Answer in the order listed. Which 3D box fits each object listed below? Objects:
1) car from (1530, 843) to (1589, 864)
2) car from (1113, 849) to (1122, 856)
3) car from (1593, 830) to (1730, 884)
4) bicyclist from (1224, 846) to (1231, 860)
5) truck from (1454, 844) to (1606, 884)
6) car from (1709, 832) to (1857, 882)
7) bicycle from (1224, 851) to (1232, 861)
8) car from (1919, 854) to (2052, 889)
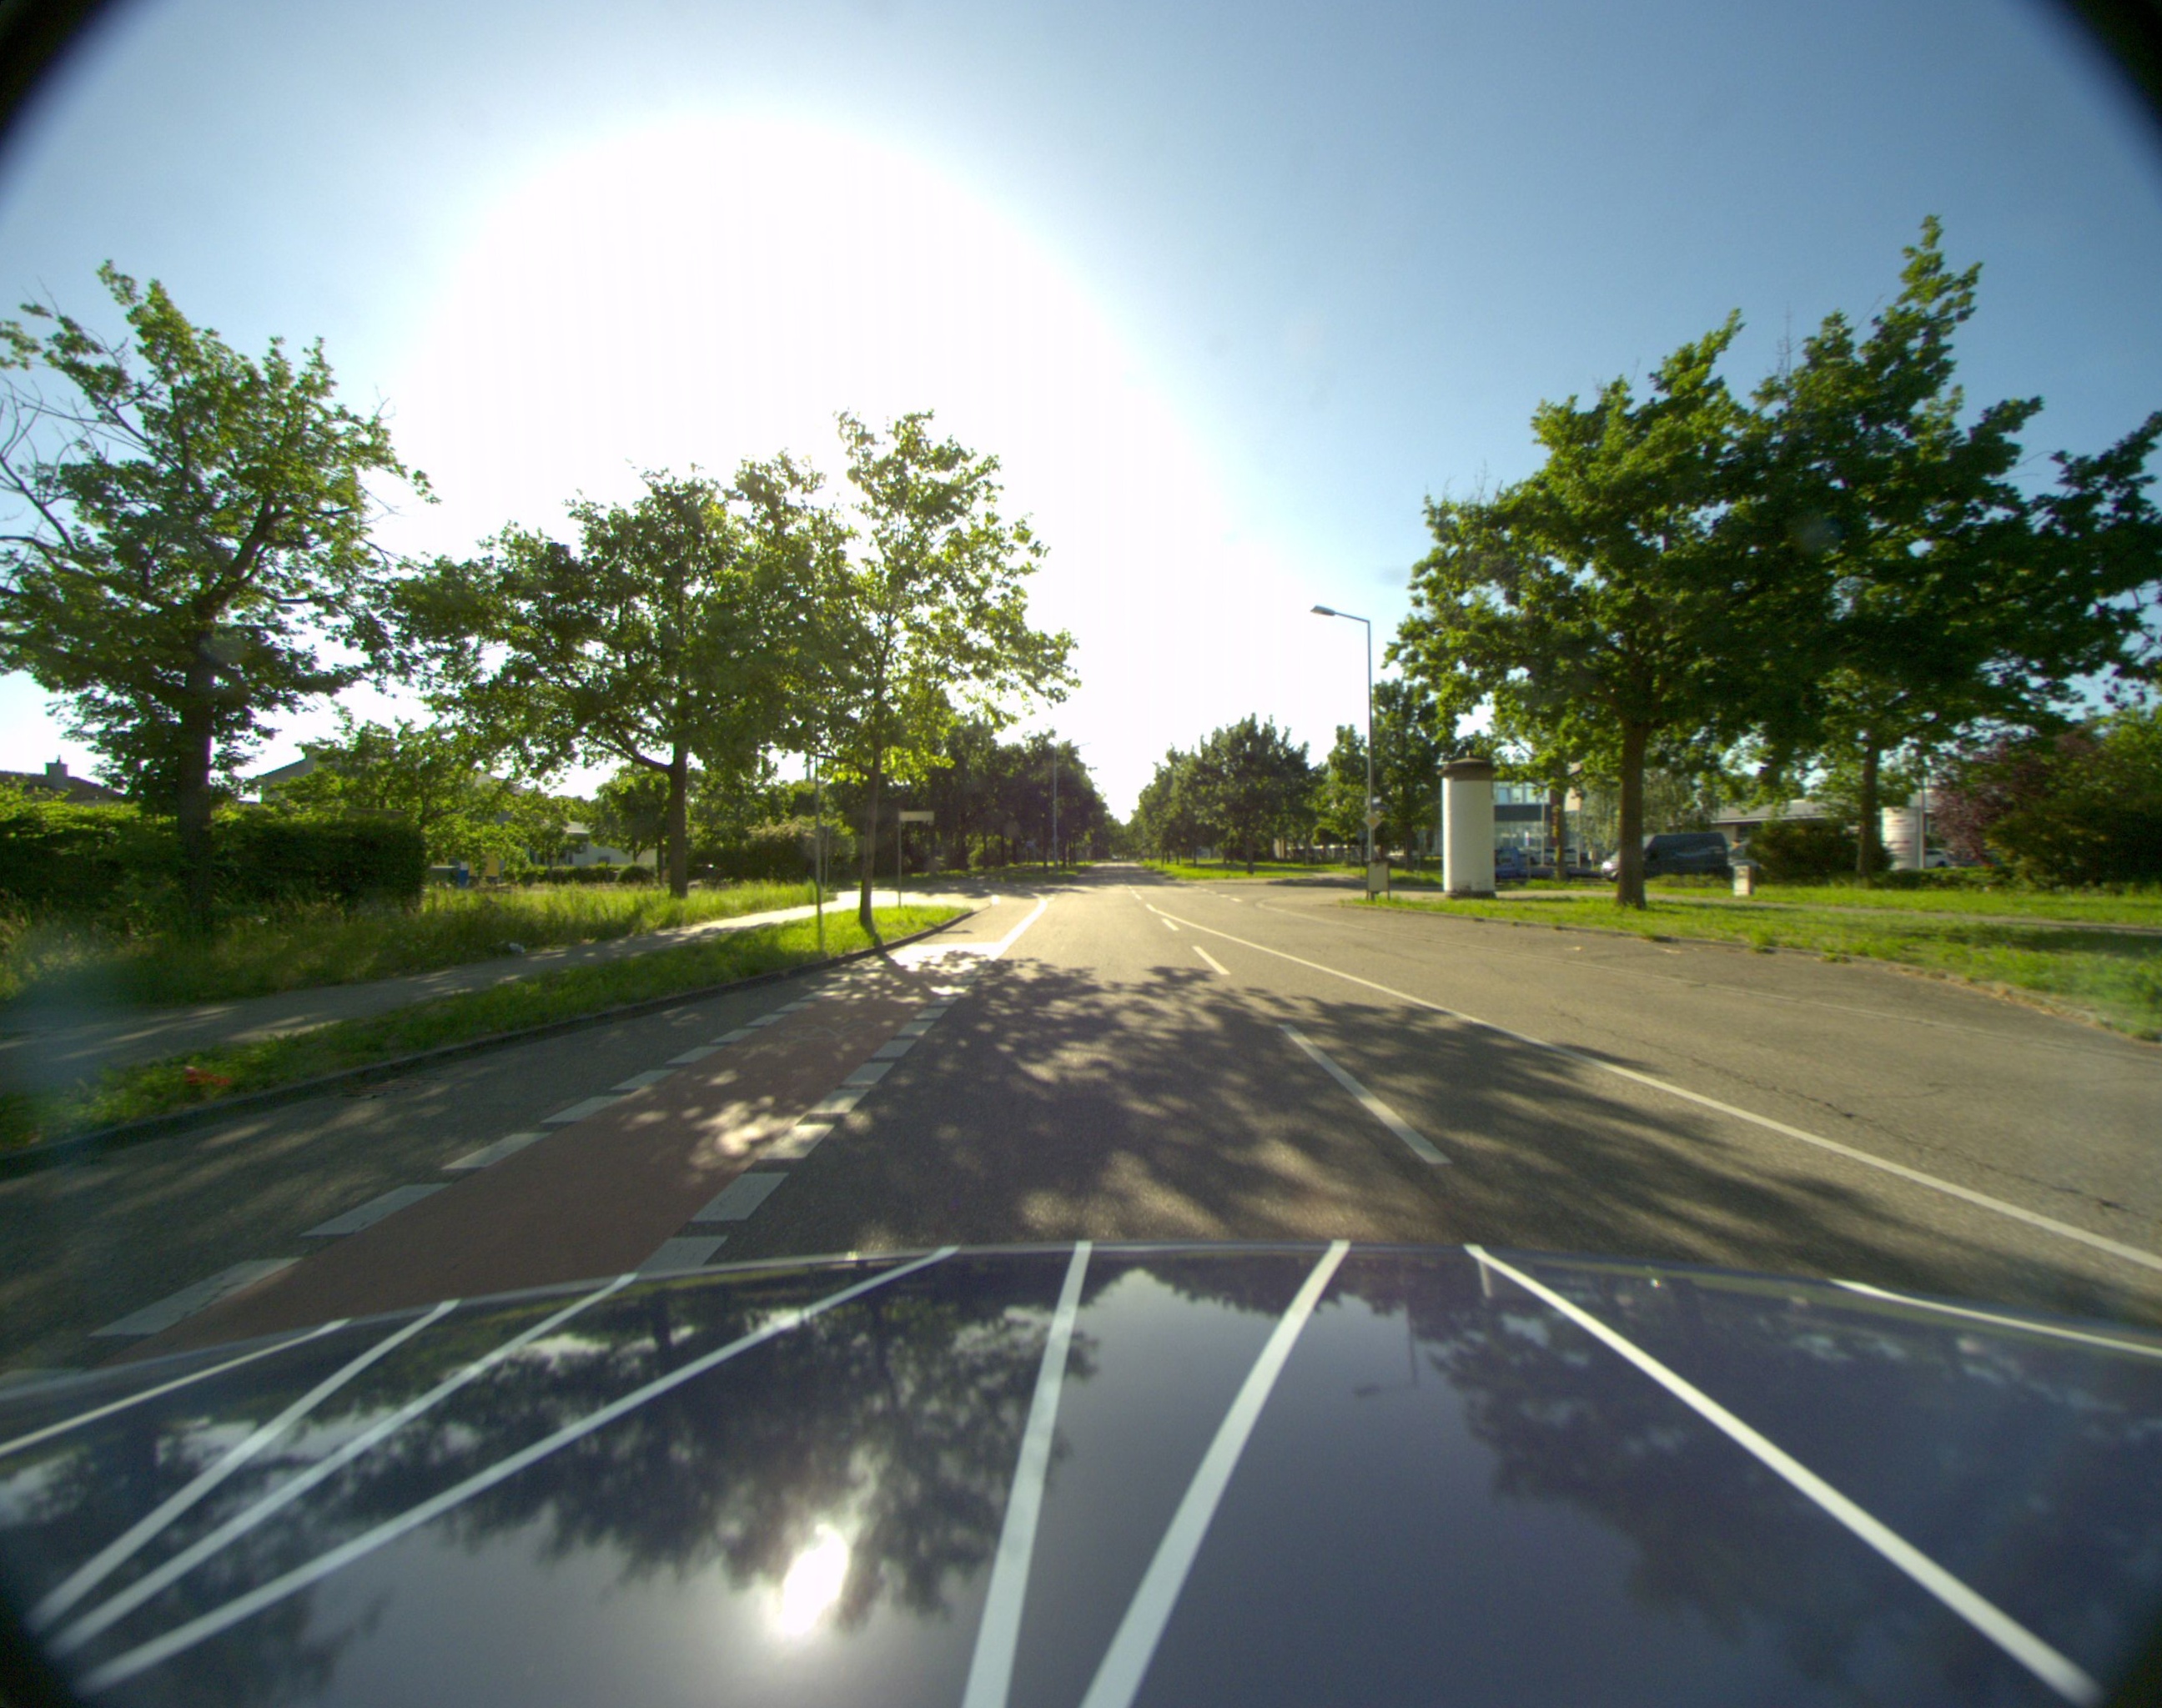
[{"bbox_3d":[38.512,-0.080,61.289,1.999,1.486,4.296,-2,3,-1],"label":"car"},{"bbox_3d":[8.478,-0.344,176.502,1.827,1.477,3.999,-2,1,0],"label":"car"},{"bbox_3d":[31.788,0.129,41.692,5.878,2.687,2.300,-2,1,-4],"label":"car"},{"bbox_3d":[17.489,-0.111,90.722,0.665,1.620,0.659,-2,2,2],"label":"bicyclist"},{"bbox_3d":[24.233,0.502,41.156,7.131,2.038,2.140,0,1,-3],"label":"truck"},{"bbox_3d":[39.101,0.146,42.394,6.356,2.501,2.300,-2,1,-4],"label":"car"},{"bbox_3d":[17.506,0.215,90.664,0.552,1.155,2.334,-2,1,2],"label":"bicycle"},{"bbox_3d":[42.984,0.808,36.183,4.296,1.586,1.758,0,2,-2],"label":"car"}]
